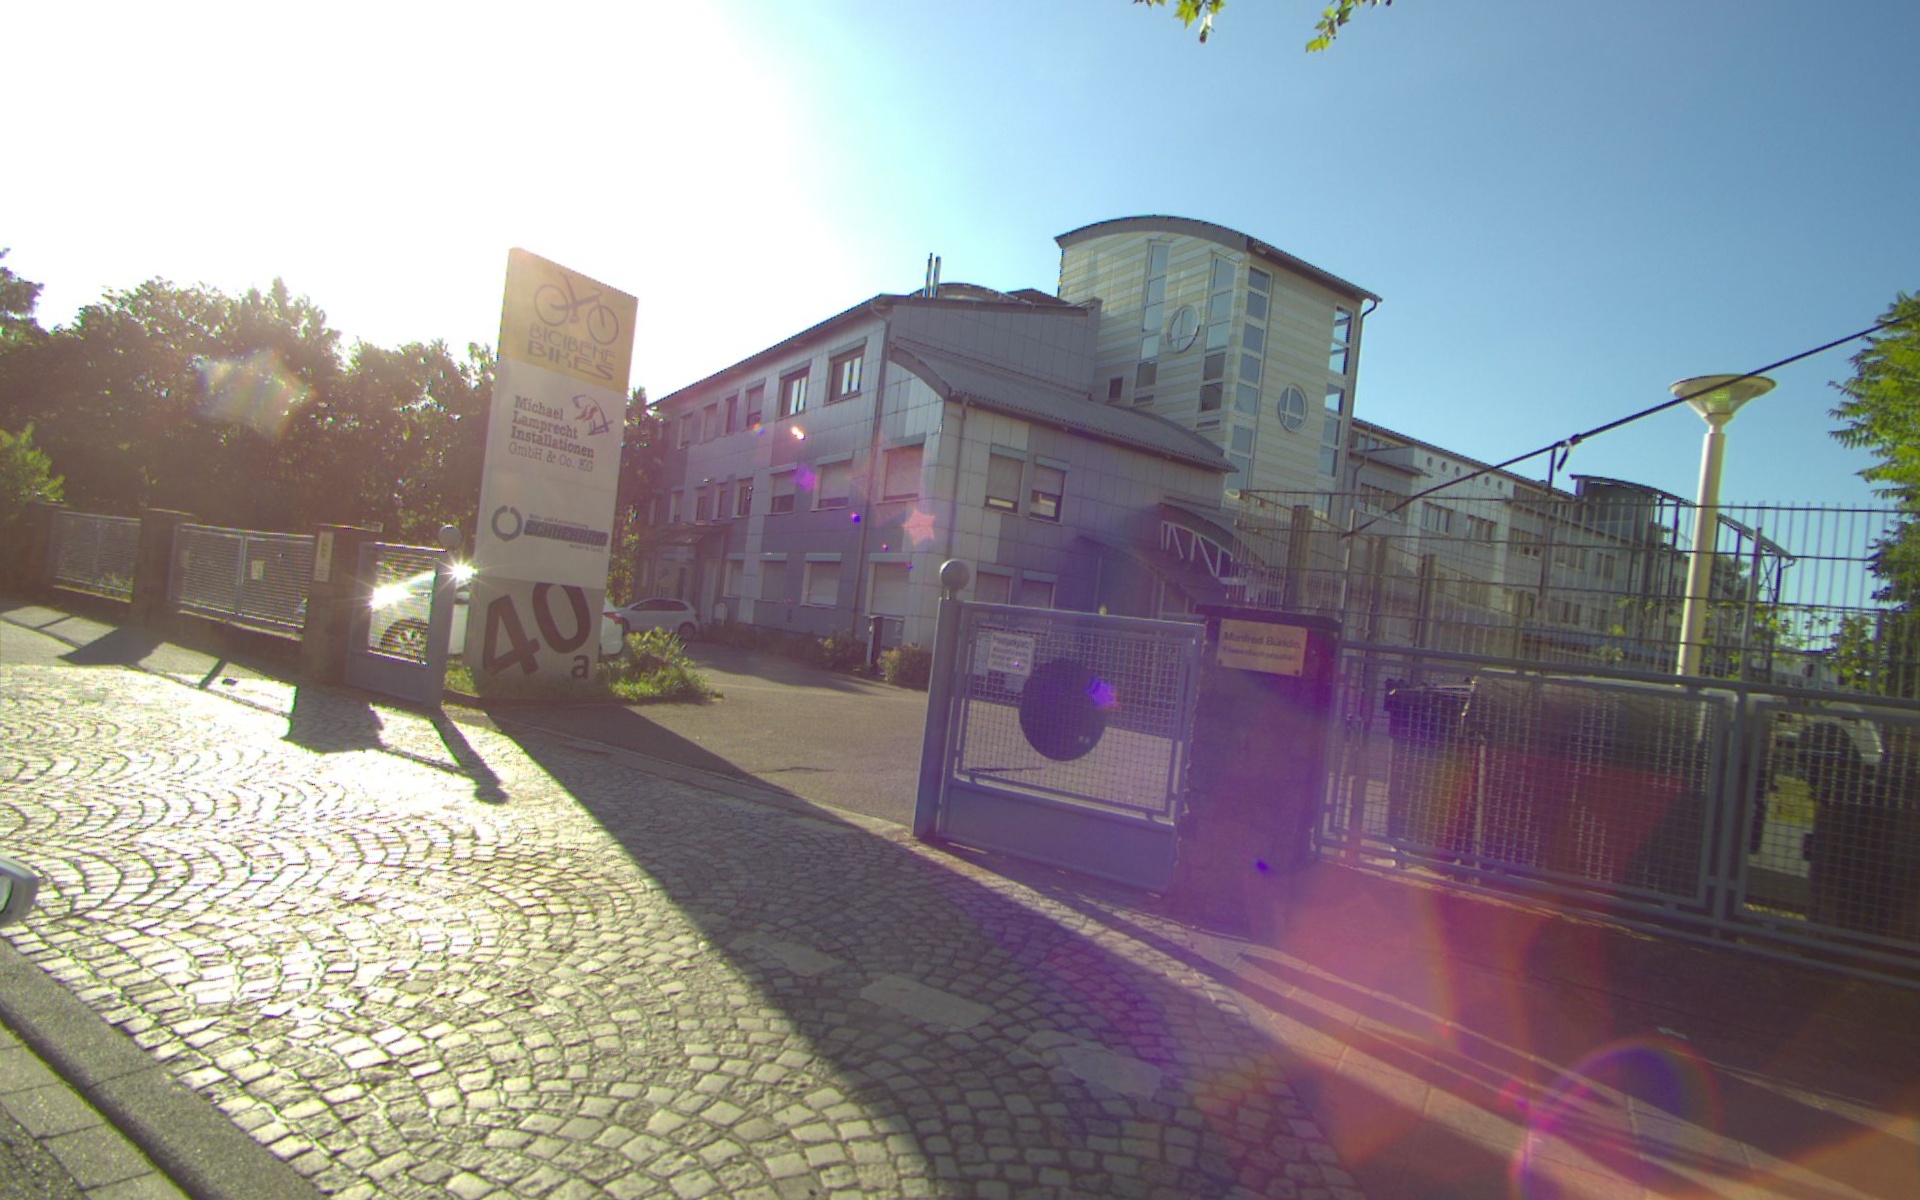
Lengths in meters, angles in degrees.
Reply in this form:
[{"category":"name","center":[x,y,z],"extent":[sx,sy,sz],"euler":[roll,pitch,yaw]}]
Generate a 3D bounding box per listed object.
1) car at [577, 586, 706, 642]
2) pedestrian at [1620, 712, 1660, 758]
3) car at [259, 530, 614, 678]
[{"category":"car","center":[-11.466,0.507,36.272],"extent":[3.965,1.593,1.892],"euler":[7,-2,-36]},{"category":"pedestrian","center":[29.510,5.842,43.653],"extent":[0.863,1.774,1.008],"euler":[7,-2,-8]},{"category":"car","center":[-7.219,0.141,14.276],"extent":[1.812,1.577,3.993],"euler":[6,-2,33]}]
